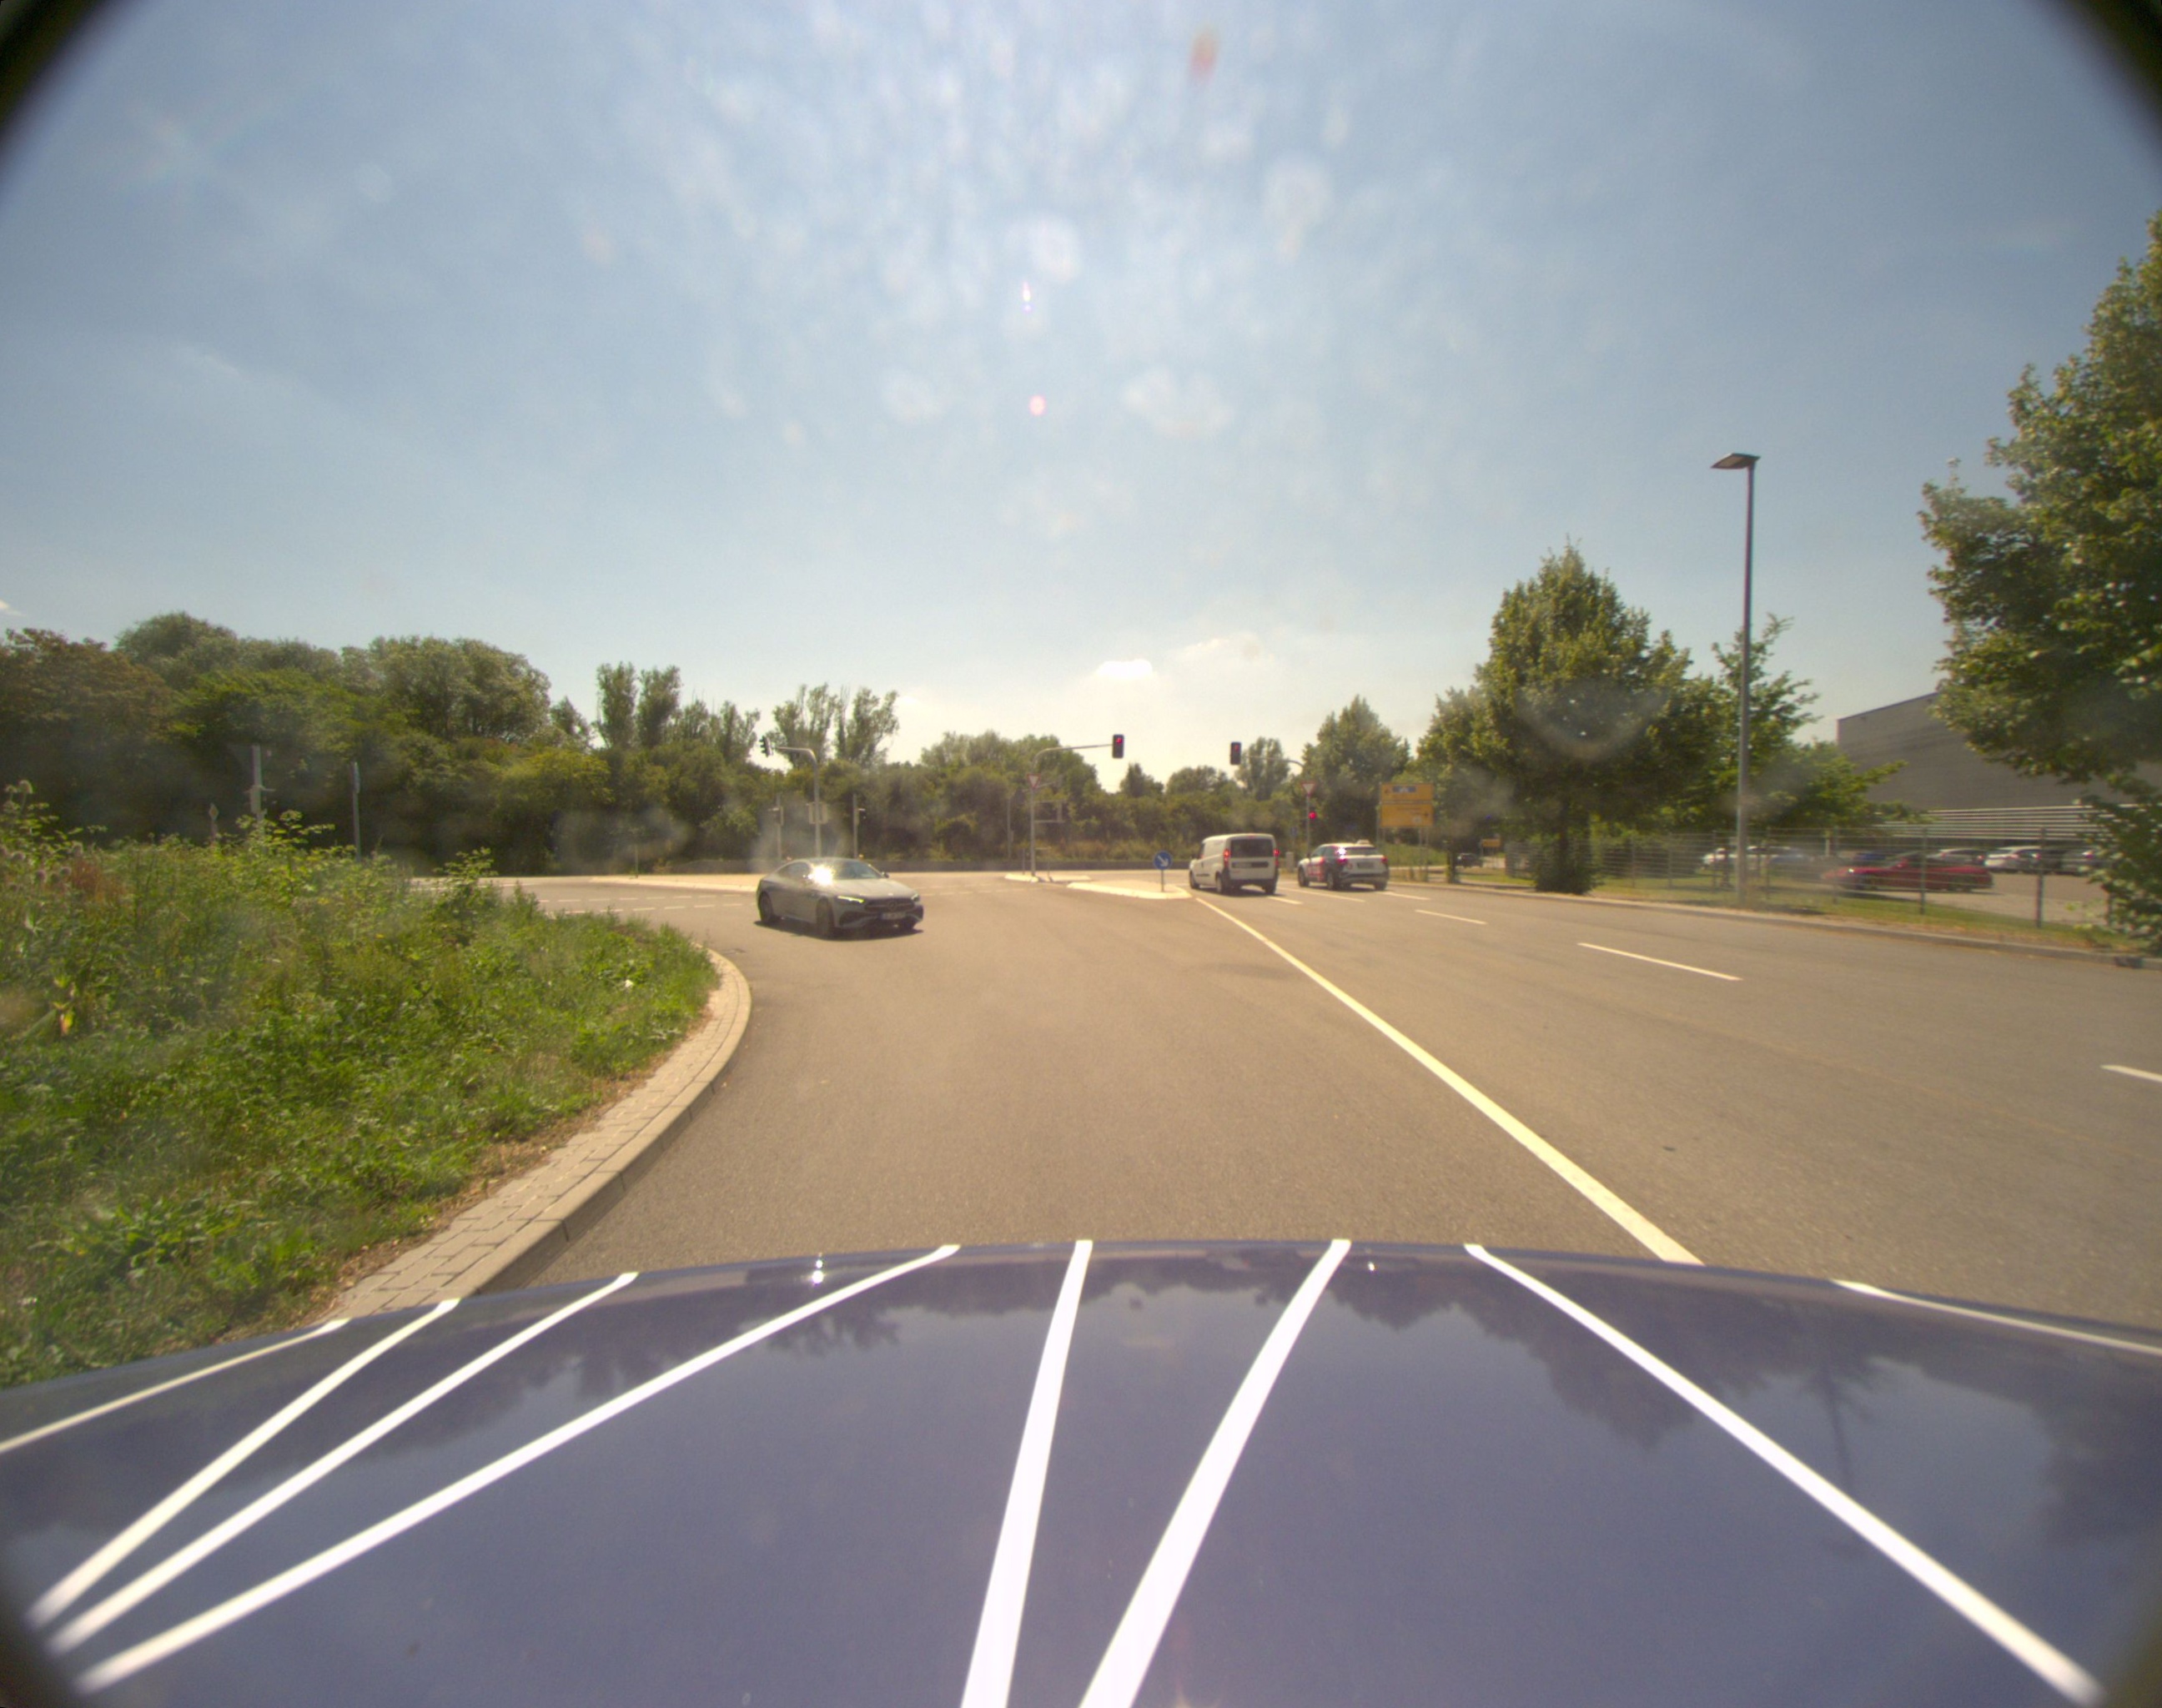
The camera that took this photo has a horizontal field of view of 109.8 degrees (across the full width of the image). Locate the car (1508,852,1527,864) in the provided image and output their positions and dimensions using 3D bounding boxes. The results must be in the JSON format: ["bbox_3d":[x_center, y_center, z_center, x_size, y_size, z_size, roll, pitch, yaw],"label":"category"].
[{"bbox_3d":[69.171,0.642,120.378,1.994,1.772,4.009,1,0,38],"label":"car"}]

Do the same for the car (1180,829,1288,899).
[{"bbox_3d":[4.870,0.221,24.987,1.999,1.932,4.866,-4,2,-7],"label":"car"}]

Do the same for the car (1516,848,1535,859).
[{"bbox_3d":[61.154,-0.023,104.597,1.735,1.433,4.400,1,0,23],"label":"car"}]

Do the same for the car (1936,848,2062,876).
[{"bbox_3d":[51.255,0.452,42.528,3.990,1.477,2.004,1,0,22],"label":"car"}]

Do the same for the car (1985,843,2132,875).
[{"bbox_3d":[48.516,0.238,37.837,3.990,1.477,2.004,1,0,22],"label":"car"}]

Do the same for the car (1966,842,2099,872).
[{"bbox_3d":[50.035,0.161,40.061,3.990,1.451,1.775,1,0,22],"label":"car"}]

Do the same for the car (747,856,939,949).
[{"bbox_3d":[-5.016,0.859,15.621,1.926,1.434,4.468,-4,4,-44],"label":"car"}]

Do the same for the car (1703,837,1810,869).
[{"bbox_3d":[37.614,-0.058,42.438,3.990,1.696,2.004,1,0,22],"label":"car"}]

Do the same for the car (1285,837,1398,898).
[{"bbox_3d":[8.518,0.364,25.232,1.999,1.698,3.861,-4,2,-7],"label":"car"}]

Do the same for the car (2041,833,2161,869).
[{"bbox_3d":[47.300,-0.135,34.598,3.991,1.507,1.923,-2,-2,22],"label":"car"}]

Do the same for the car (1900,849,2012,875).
[{"bbox_3d":[53.278,0.502,46.355,3.990,1.477,2.004,1,0,22],"label":"car"}]

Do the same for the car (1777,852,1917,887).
[{"bbox_3d":[34.410,0.672,34.282,3.990,1.477,2.004,1,0,22],"label":"car"}]

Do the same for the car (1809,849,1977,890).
[{"bbox_3d":[31.460,0.575,29.621,3.990,1.477,2.004,1,0,22],"label":"car"}]
